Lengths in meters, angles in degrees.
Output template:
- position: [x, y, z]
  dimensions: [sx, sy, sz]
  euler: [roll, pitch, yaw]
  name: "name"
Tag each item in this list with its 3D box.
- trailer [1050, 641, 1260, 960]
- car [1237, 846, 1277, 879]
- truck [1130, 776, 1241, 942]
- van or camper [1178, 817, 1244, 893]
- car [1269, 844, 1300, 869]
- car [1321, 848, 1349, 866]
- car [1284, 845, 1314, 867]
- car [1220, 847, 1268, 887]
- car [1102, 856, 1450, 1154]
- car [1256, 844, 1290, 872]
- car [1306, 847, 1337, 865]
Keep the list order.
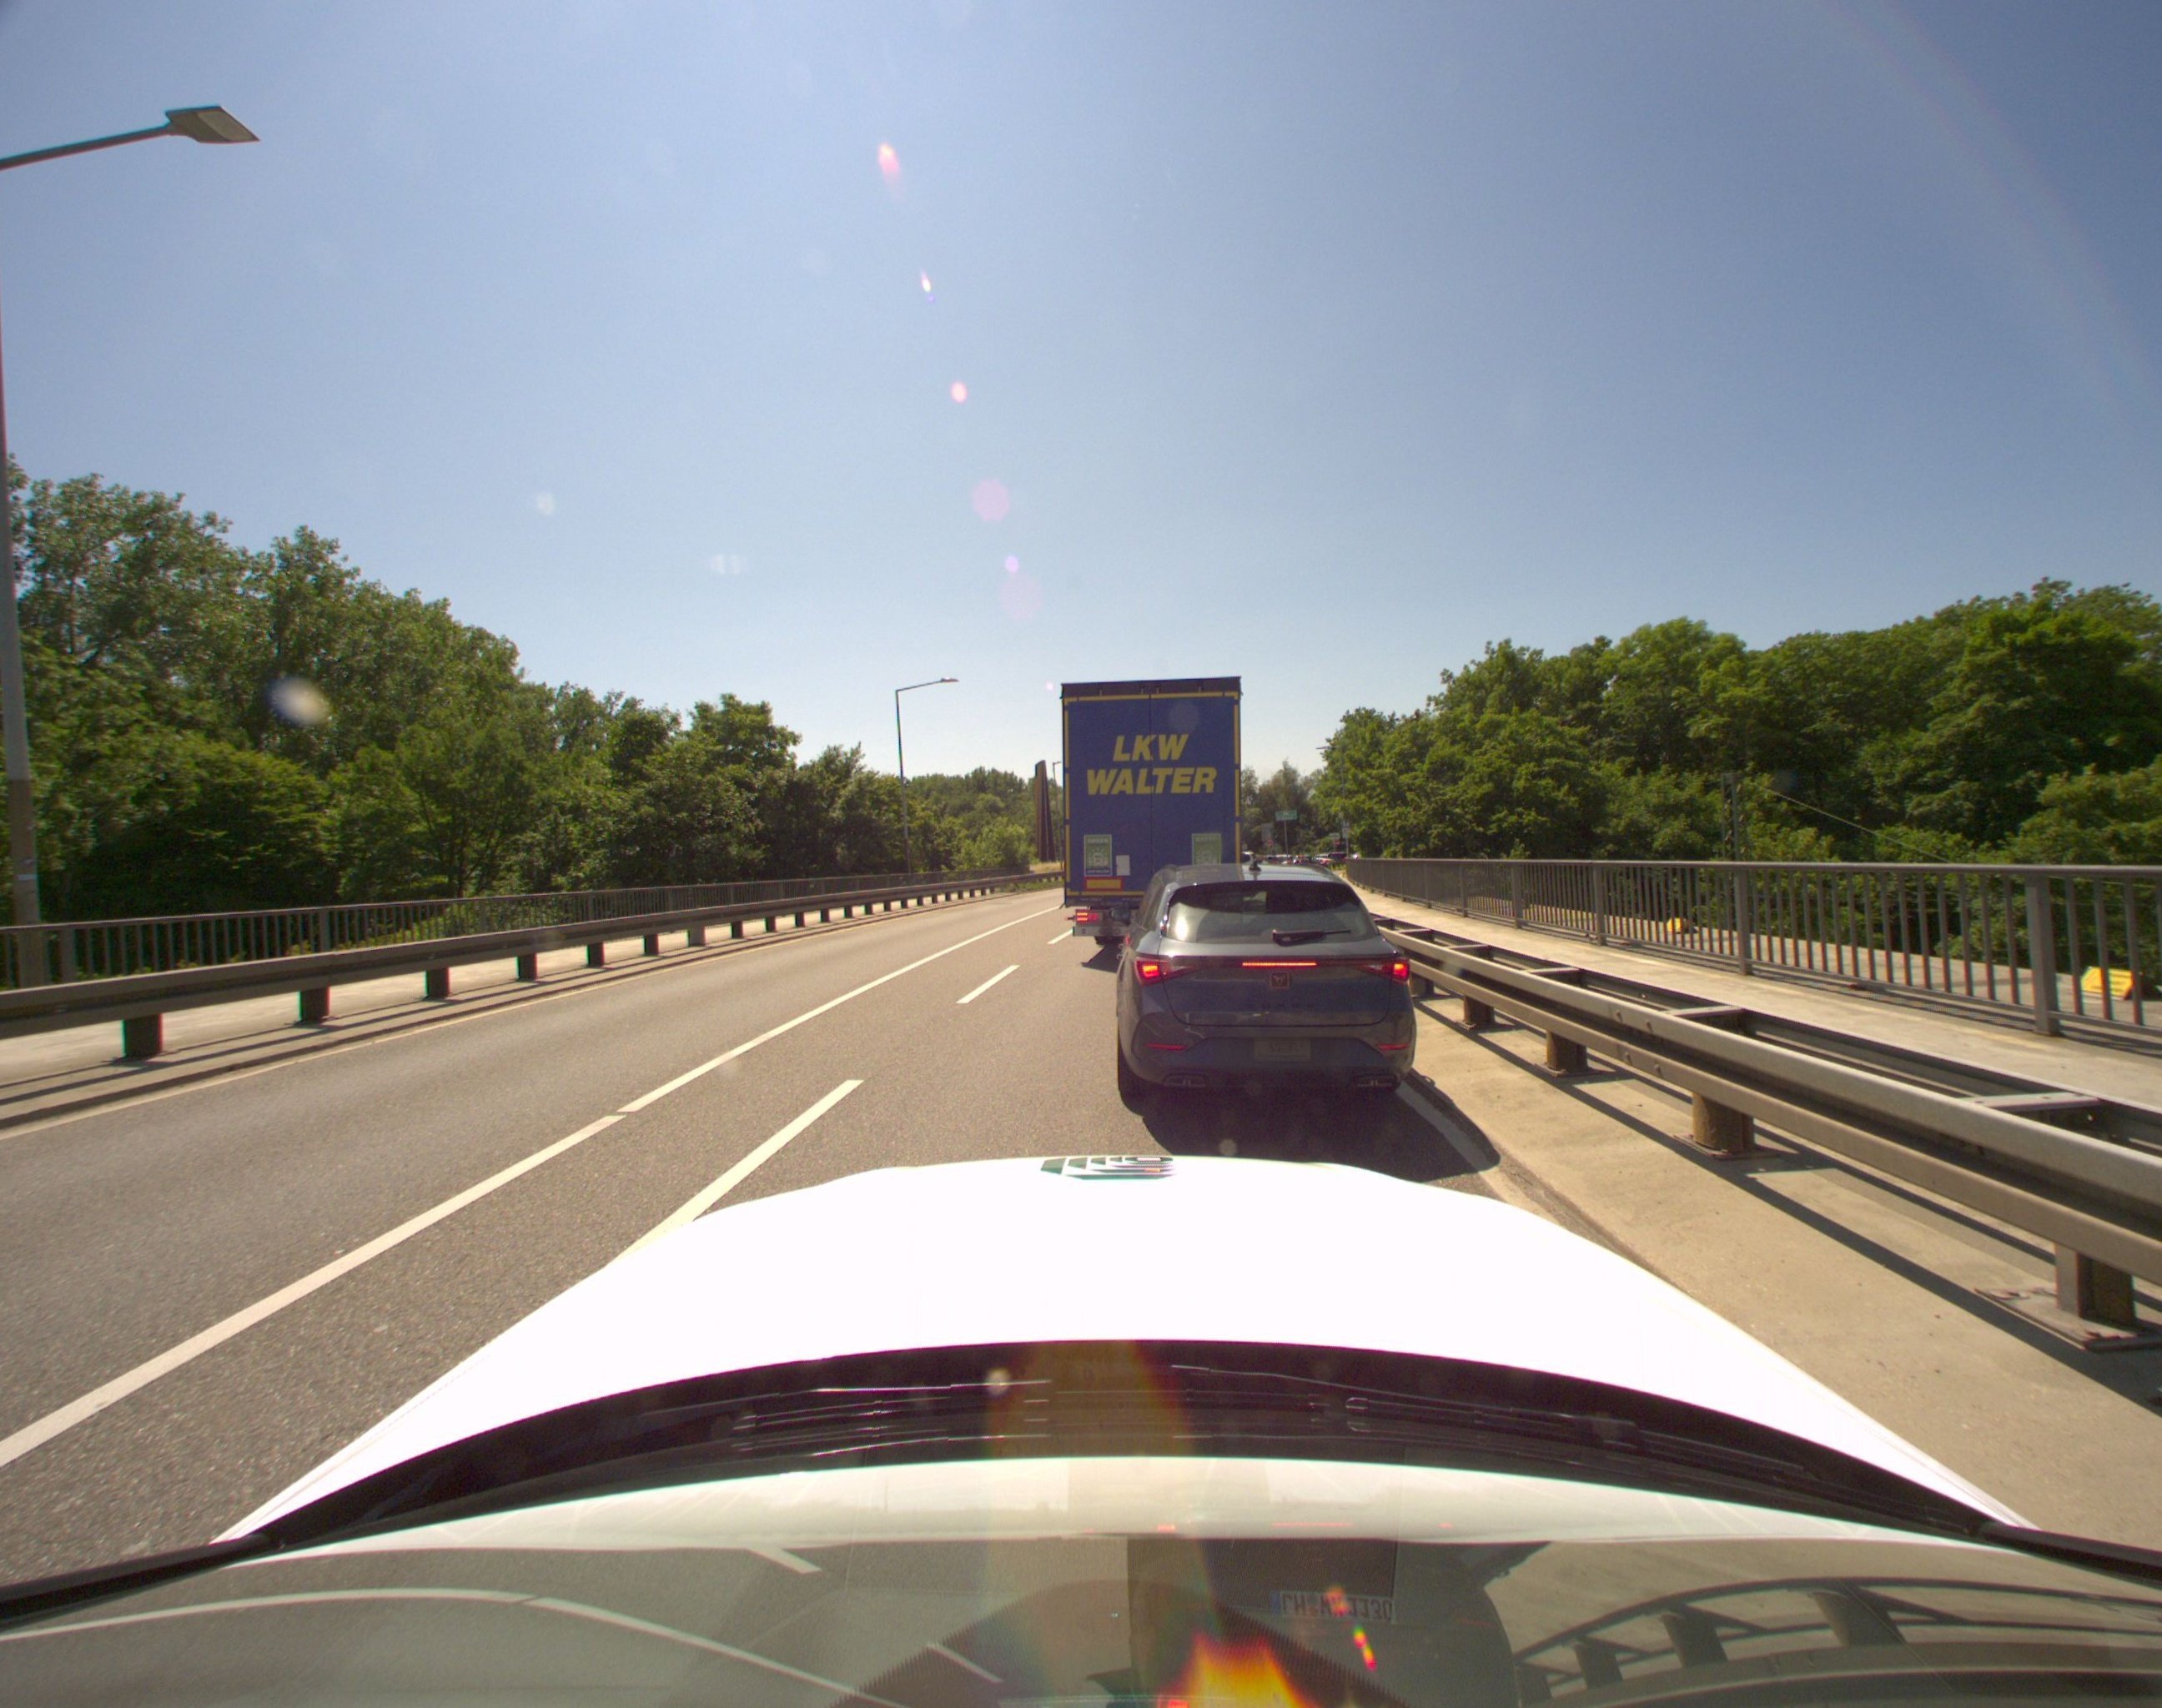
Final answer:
- position: [2.061, -0.742, 17.663]
  dimensions: [2.887, 4.418, 12.466]
  euler: [-1, 0, 10]
  name: "trailer"
- position: [10.265, 0.483, 47.218]
  dimensions: [1.706, 1.802, 4.020]
  euler: [-1, 0, 20]
  name: "car"
- position: [3.346, 0.144, 25.111]
  dimensions: [2.887, 4.418, 6.573]
  euler: [-1, 0, 10]
  name: "truck"
- position: [5.498, 0.023, 33.633]
  dimensions: [2.139, 2.815, 6.411]
  euler: [-1, 0, 14]
  name: "van or camper"
- position: [15.357, 0.174, 61.300]
  dimensions: [1.706, 1.844, 4.021]
  euler: [-1, 0, 21]
  name: "car"
- position: [24.975, 0.286, 79.940]
  dimensions: [1.669, 1.760, 4.025]
  euler: [-2, -1, 30]
  name: "car"
- position: [18.233, 0.206, 67.882]
  dimensions: [1.670, 1.760, 4.023]
  euler: [-1, -1, 25]
  name: "car"
- position: [8.236, 0.601, 40.943]
  dimensions: [1.706, 1.844, 4.020]
  euler: [-1, 0, 20]
  name: "car"
- position: [1.104, 0.759, 6.012]
  dimensions: [1.669, 1.456, 3.963]
  euler: [-1, 0, 4]
  name: "car"
- position: [13.075, 0.242, 55.236]
  dimensions: [1.706, 1.844, 4.021]
  euler: [-1, 0, 21]
  name: "car"
- position: [21.888, 0.213, 74.022]
  dimensions: [1.975, 1.575, 4.024]
  euler: [0, -1, 28]
  name: "car"
